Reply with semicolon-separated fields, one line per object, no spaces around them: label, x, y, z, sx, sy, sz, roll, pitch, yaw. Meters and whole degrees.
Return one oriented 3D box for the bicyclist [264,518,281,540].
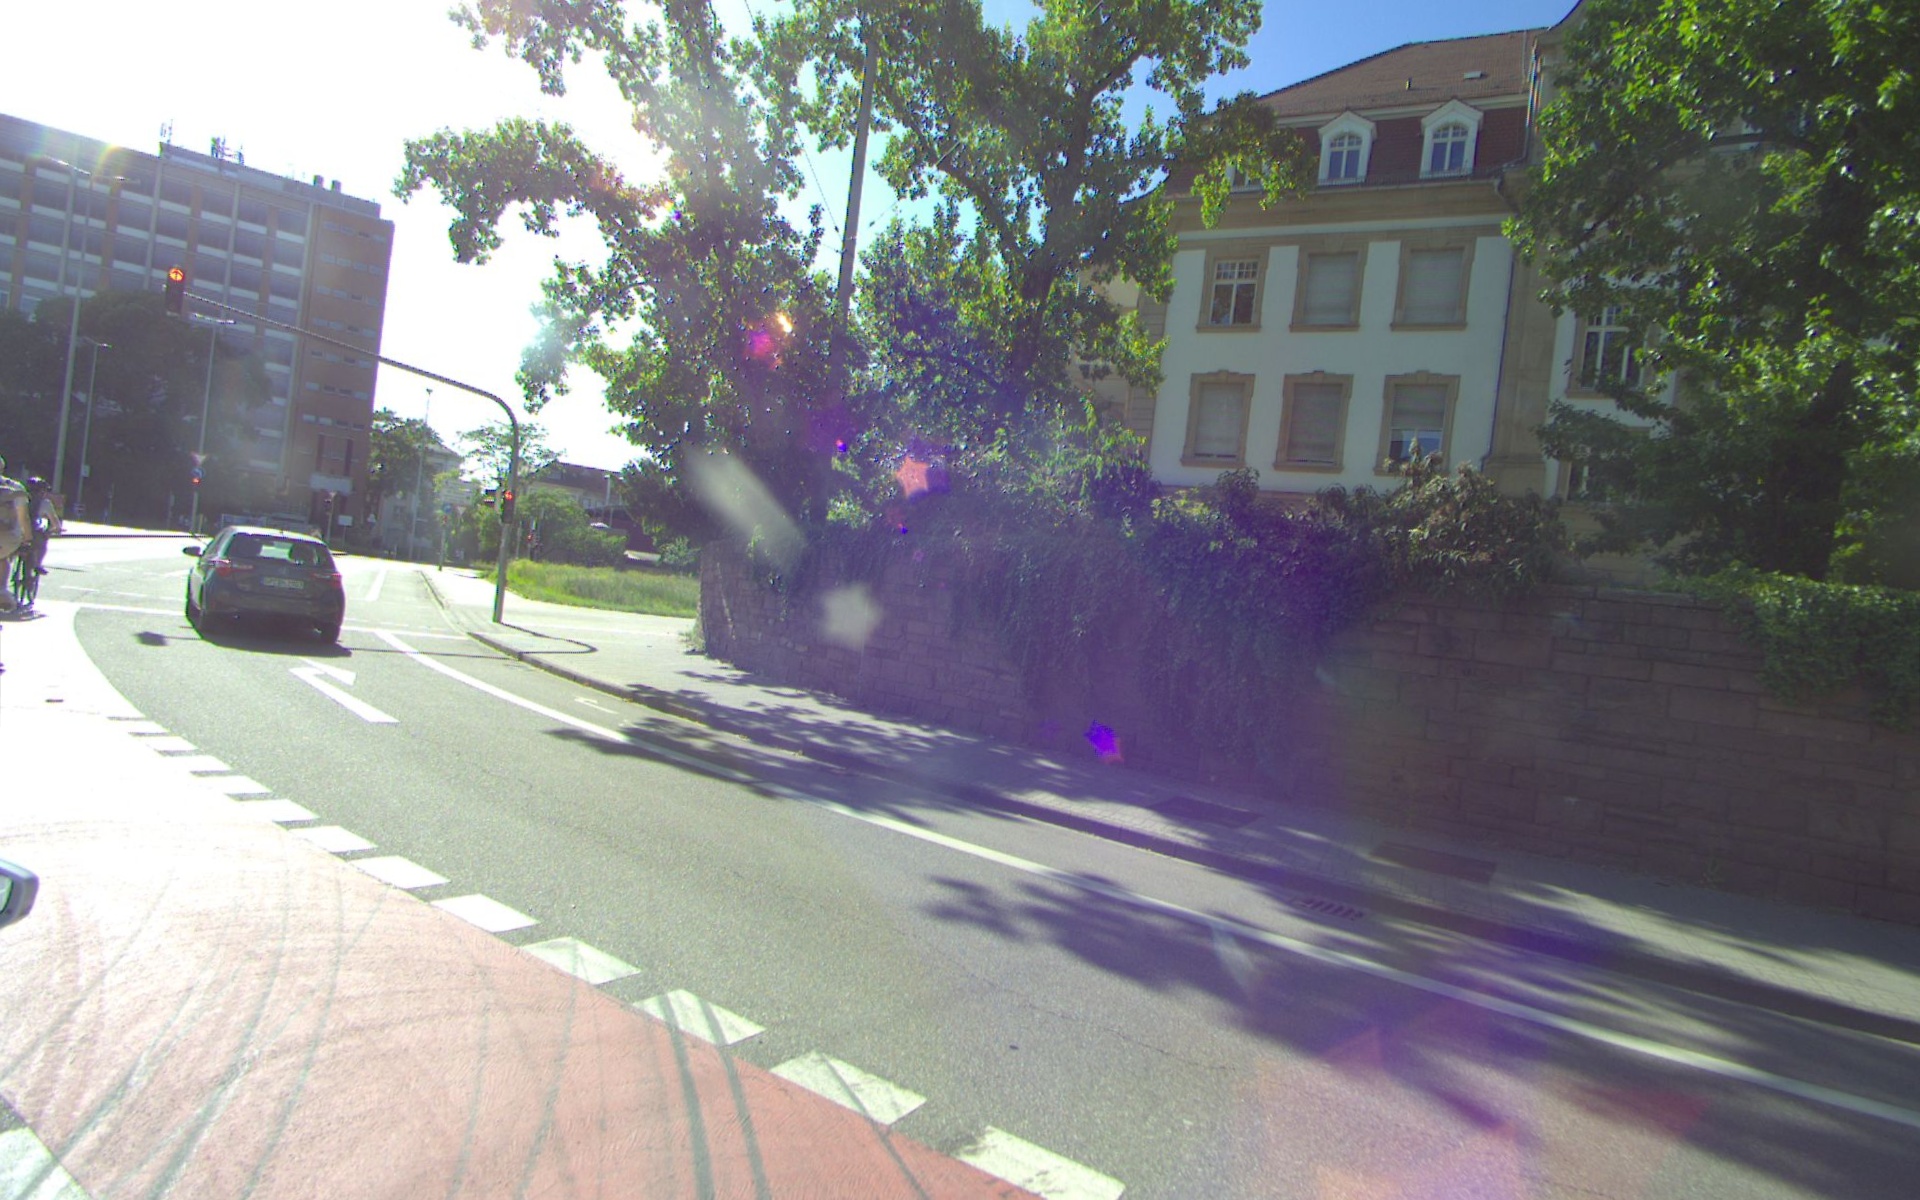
bicyclist;-58.655;-6.072;85.822;0.850;1.711;0.879;7;-2;-26

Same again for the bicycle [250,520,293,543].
bicycle;-58.694;-5.832;85.830;2.778;1.558;0.879;8;-2;-27

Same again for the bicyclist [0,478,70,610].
bicyclist;-12.680;-0.768;13.653;0.719;1.645;1.043;8;-1;-41

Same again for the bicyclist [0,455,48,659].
bicyclist;-8.823;-0.422;9.103;0.662;1.768;0.993;7;0;-44

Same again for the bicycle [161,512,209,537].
bicycle;-63.131;-6.112;81.982;2.778;1.558;0.879;8;-2;-27

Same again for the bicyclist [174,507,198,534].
bicyclist;-63.074;-6.477;81.982;1.196;1.919;0.879;7;-2;-26

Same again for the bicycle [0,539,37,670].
bicycle;-8.949;-0.020;9.164;0.661;1.060;1.866;7;-1;-44

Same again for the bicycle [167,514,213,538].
bicycle;-64.008;-6.140;83.697;2.778;1.558;0.879;8;-2;-27

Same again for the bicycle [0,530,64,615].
bicycle;-12.747;-0.395;13.671;0.720;0.971;1.862;9;-1;-41

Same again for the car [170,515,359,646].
car;-10.545;-0.336;15.148;1.751;1.560;3.615;8;-1;-42
